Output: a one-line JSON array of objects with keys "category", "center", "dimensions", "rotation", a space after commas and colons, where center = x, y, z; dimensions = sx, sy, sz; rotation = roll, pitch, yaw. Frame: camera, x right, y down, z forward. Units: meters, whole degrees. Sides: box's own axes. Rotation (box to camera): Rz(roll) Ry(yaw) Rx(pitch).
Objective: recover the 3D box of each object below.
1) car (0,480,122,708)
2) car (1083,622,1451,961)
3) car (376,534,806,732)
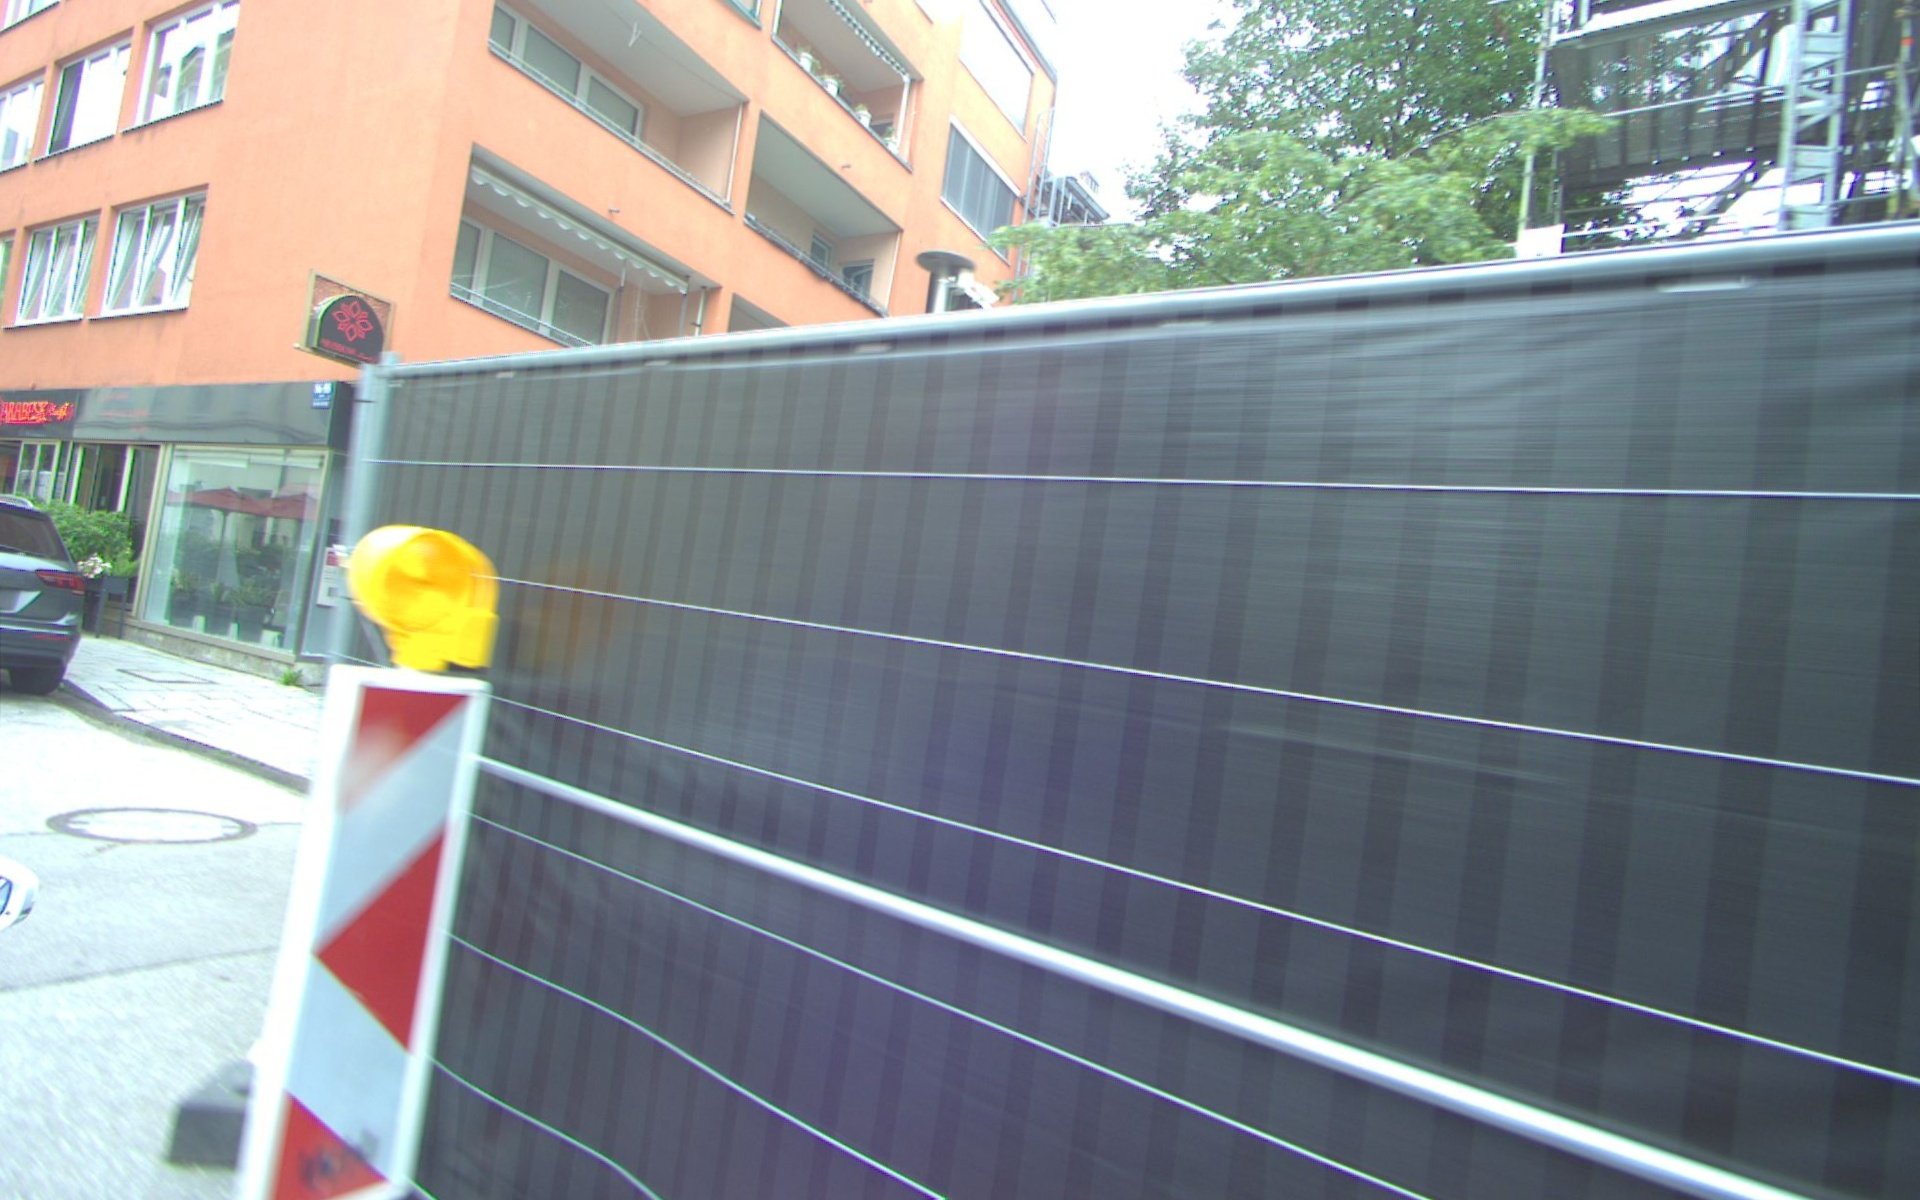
[{"category": "car", "center": [-9.441, -0.295, 8.750], "dimensions": [4.316, 1.728, 1.830], "rotation": [6, -4, 31]}, {"category": "car", "center": [2.555, 1.328, 7.649], "dimensions": [1.745, 1.696, 3.750], "rotation": [7, -5, 30]}, {"category": "car", "center": [-4.003, 0.530, 11.798], "dimensions": [1.809, 1.739, 4.475], "rotation": [7, -3, 29]}]
